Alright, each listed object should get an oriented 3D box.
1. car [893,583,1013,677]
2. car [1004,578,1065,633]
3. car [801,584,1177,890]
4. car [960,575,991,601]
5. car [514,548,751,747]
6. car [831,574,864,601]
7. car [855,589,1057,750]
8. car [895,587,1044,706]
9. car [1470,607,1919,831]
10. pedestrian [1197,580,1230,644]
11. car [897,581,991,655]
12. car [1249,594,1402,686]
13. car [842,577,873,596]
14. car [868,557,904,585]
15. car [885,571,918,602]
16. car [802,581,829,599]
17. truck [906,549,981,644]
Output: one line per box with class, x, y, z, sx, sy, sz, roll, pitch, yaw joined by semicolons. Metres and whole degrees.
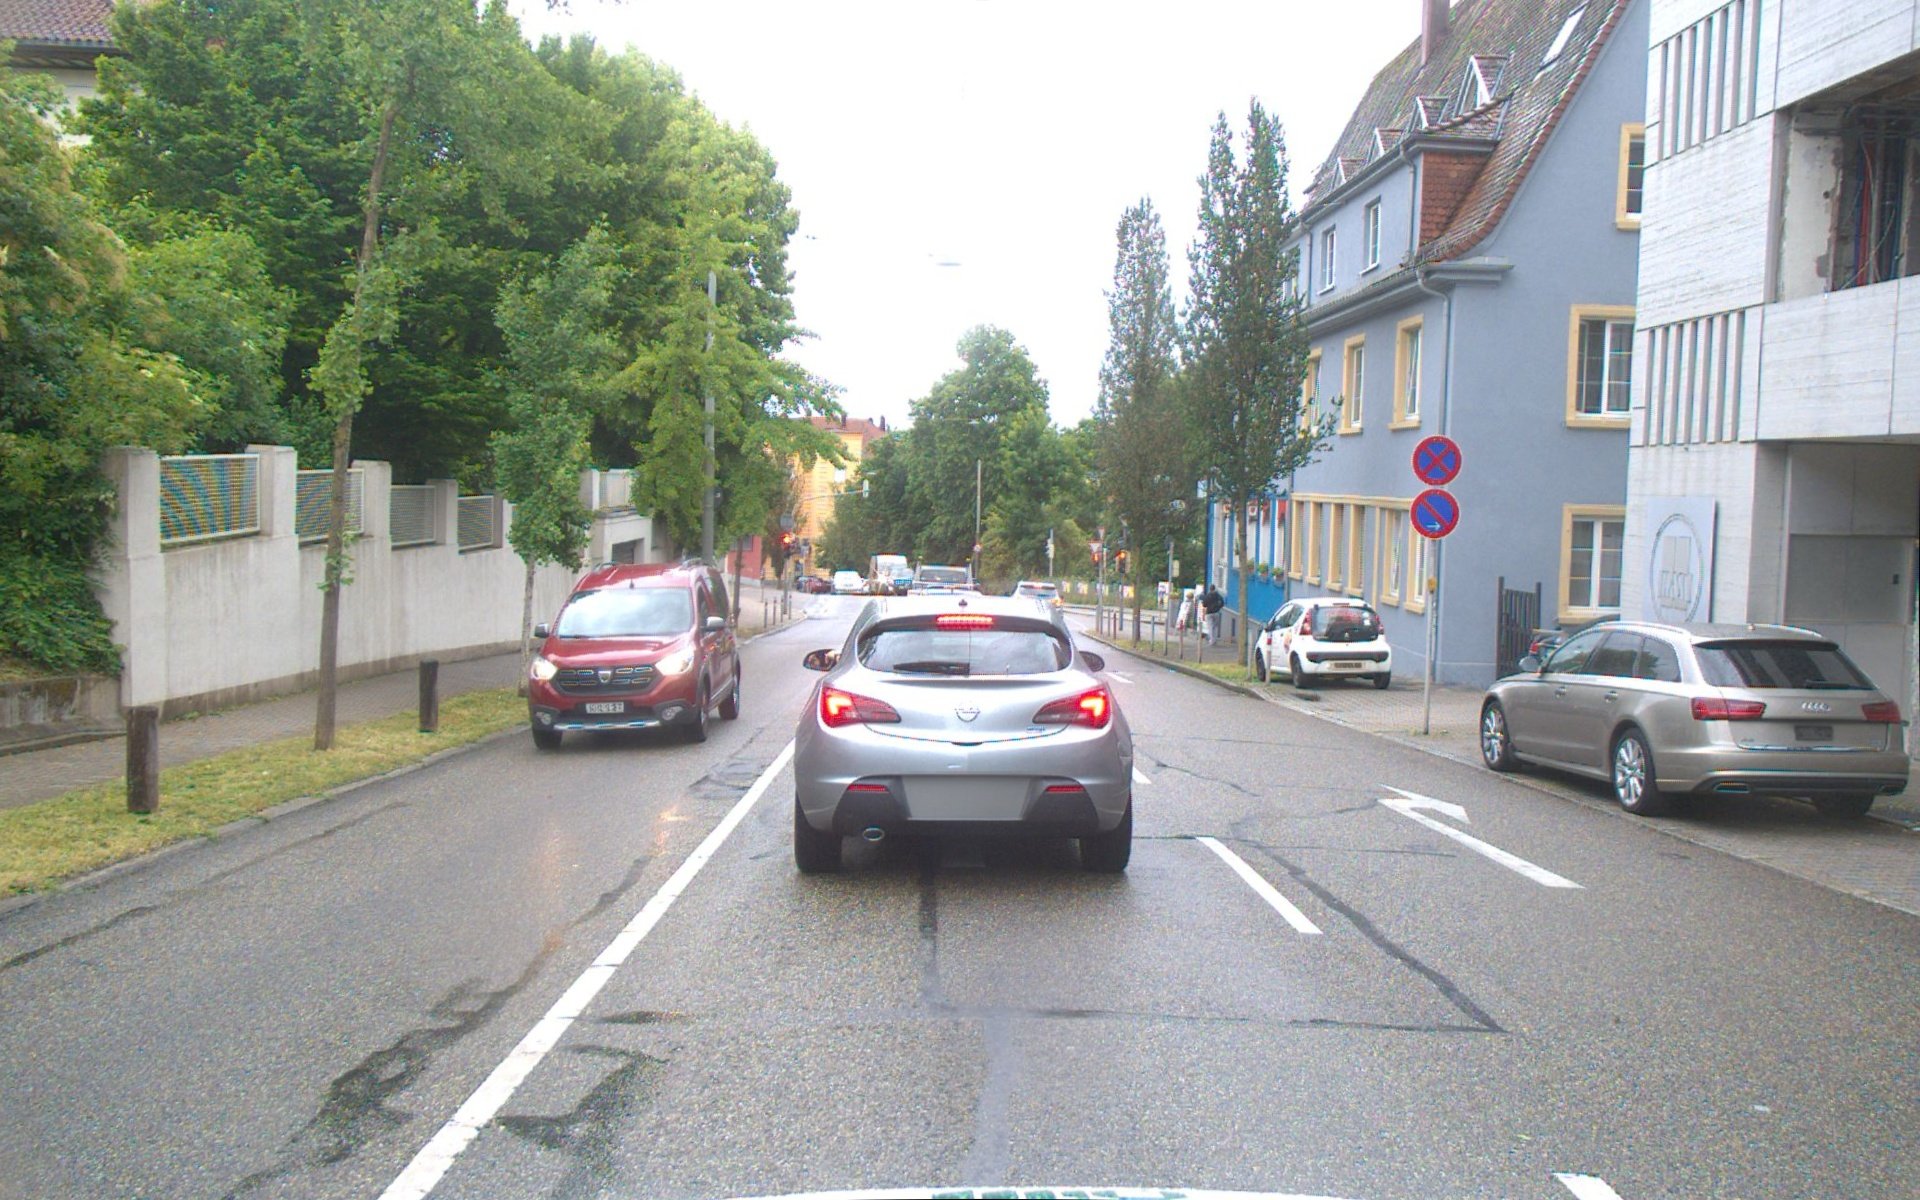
car;-0.185;0.472;29.440;1.922;1.473;4.304;2;1;-2
car;2.444;0.163;55.171;1.688;1.744;3.878;0;0;-3
car;0.061;0.655;9.968;1.800;1.459;3.878;1;0;-3
car;0.991;-0.784;108.930;1.689;1.666;3.876;0;0;-4
car;-3.371;0.450;17.831;1.711;1.860;4.458;-1;0;-1
car;-6.297;-0.701;92.594;1.688;1.485;3.878;0;0;-2
car;-0.107;0.670;18.339;1.922;1.473;4.304;2;1;-2
car;0.058;0.598;24.063;1.922;1.473;4.304;2;1;-2
car;6.048;0.855;13.911;1.923;1.473;4.524;1;1;-3
pedestrian;7.232;0.337;47.200;0.767;1.759;0.650;2;0;-1
car;-0.403;0.361;37.097;1.922;1.473;4.304;2;1;-2
car;6.282;0.648;28.796;1.688;1.473;3.878;0;0;-2
car;-8.625;-1.178;139.227;1.696;1.570;3.859;0;0;-18
car;-4.496;-1.756;100.190;1.691;1.666;3.871;0;0;-9
car;-3.263;-0.752;92.572;1.833;1.666;3.878;0;0;-2
car;-13.787;-0.962;157.914;1.696;1.666;3.859;0;0;-18
truck;-0.521;-0.122;47.095;1.922;2.471;4.934;2;1;-2
